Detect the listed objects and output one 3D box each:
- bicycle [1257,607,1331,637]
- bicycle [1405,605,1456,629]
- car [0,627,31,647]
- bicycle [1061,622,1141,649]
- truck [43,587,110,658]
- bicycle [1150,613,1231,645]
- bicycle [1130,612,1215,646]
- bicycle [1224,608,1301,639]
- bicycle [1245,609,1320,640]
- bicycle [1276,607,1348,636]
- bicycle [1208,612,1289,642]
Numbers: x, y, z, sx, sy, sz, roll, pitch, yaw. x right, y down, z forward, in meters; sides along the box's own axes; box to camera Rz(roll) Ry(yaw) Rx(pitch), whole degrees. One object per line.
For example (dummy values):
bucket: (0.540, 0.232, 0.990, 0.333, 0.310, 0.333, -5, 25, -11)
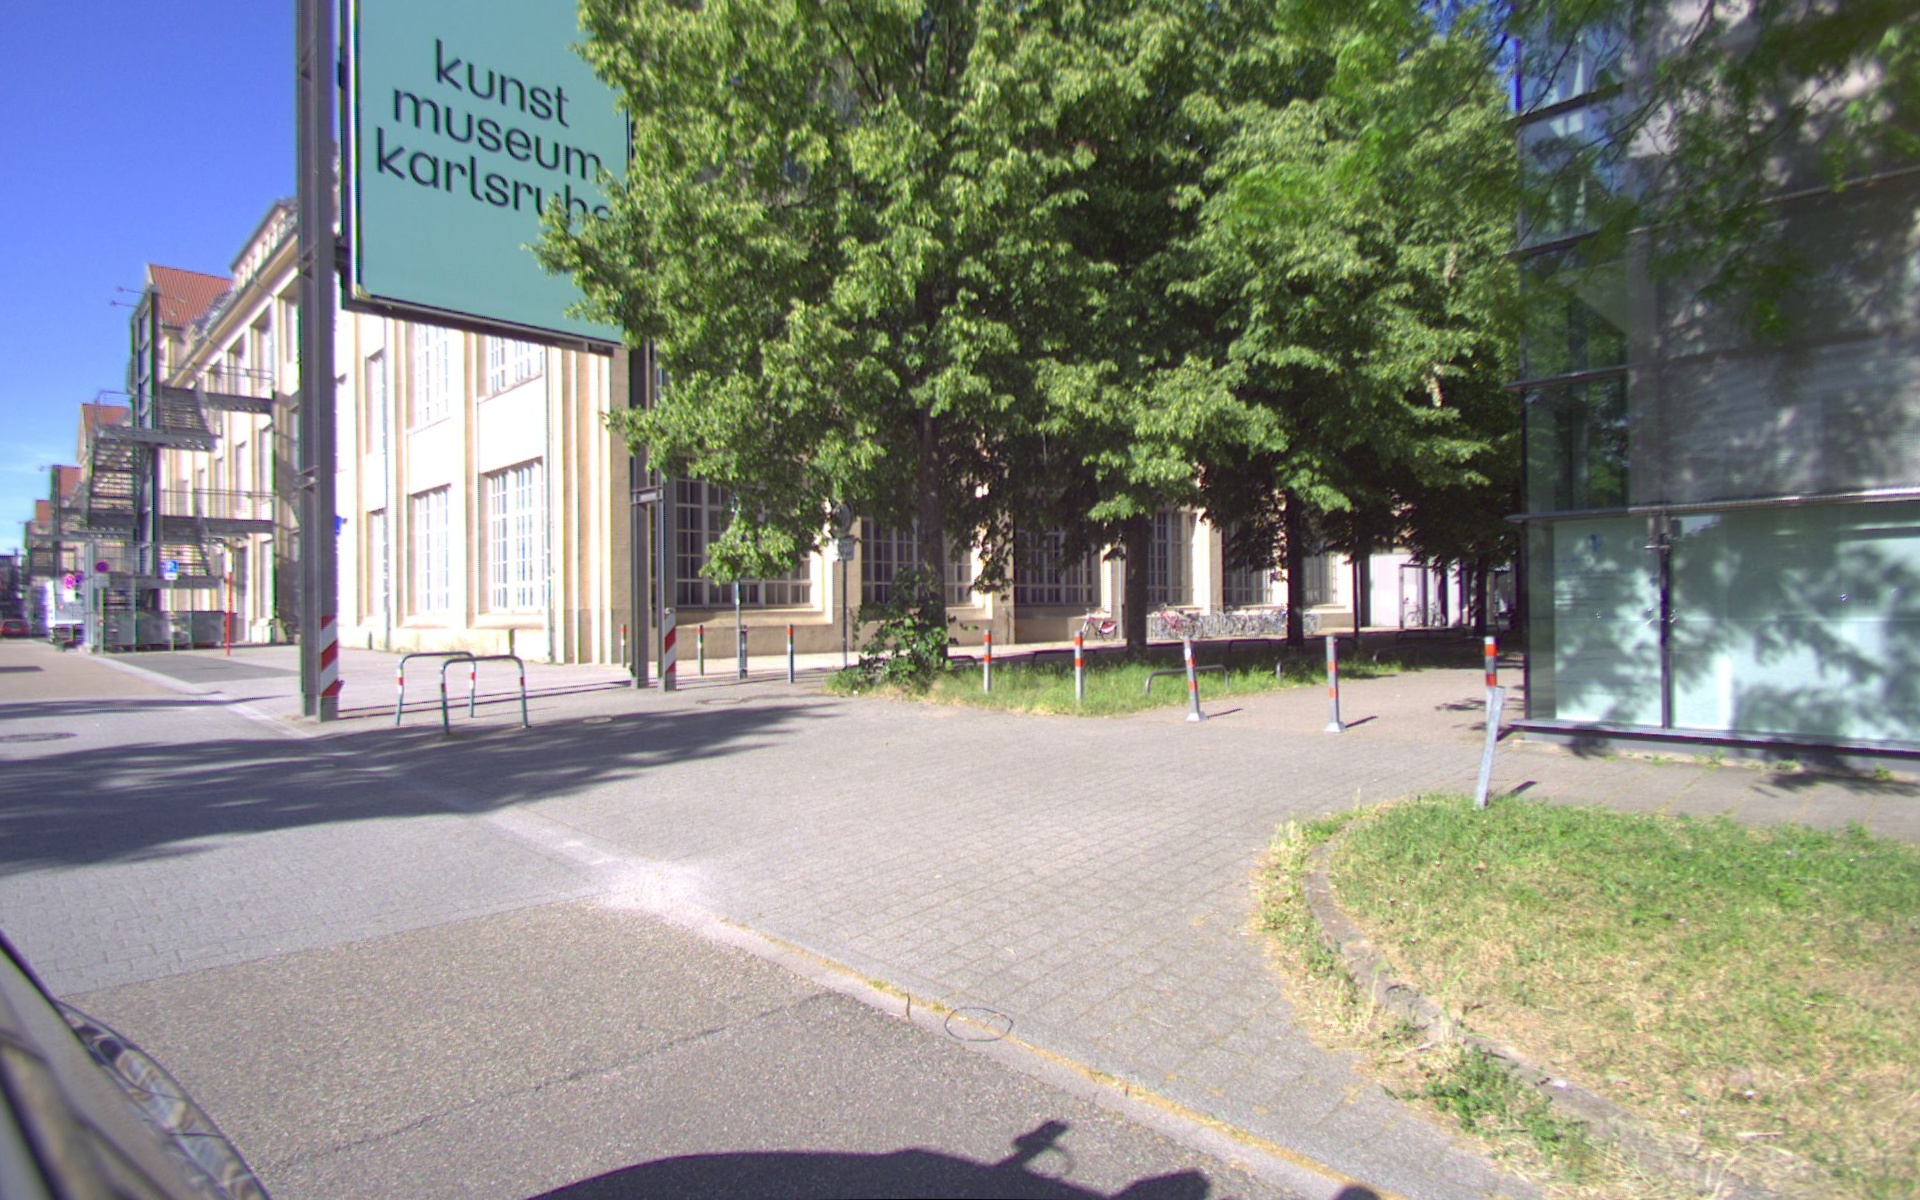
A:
bicycle: (13.317, 0.877, 40.461, 2.739, 1.159, 0.709, -2, -1, 42)
bicycle: (21.742, 0.779, 46.780, 0.499, 1.074, 2.067, 0, -1, -42)
car: (-71.100, 2.777, 76.132, 1.734, 1.460, 4.005, 0, -1, -42)
bicycle: (4.586, 1.149, 32.857, 2.837, 0.798, 0.782, 0, -1, -37)
truck: (-46.220, 1.153, 52.901, 2.462, 3.457, 7.136, 1, -2, -42)
bicycle: (8.029, 1.015, 35.320, 0.708, 1.071, 2.812, 0, -1, -44)
bicycle: (7.090, 0.971, 33.920, 2.809, 1.071, 0.709, -2, -1, 42)
bicycle: (11.603, 0.921, 38.898, 2.809, 1.159, 0.709, -2, -1, 42)
bicycle: (12.709, 0.965, 39.971, 2.739, 1.159, 0.709, -2, -1, 42)
bicycle: (14.535, 0.900, 41.831, 2.739, 1.159, 0.709, -2, -1, 42)
bicycle: (10.503, 0.980, 36.930, 2.809, 1.071, 0.709, -2, -1, 42)
